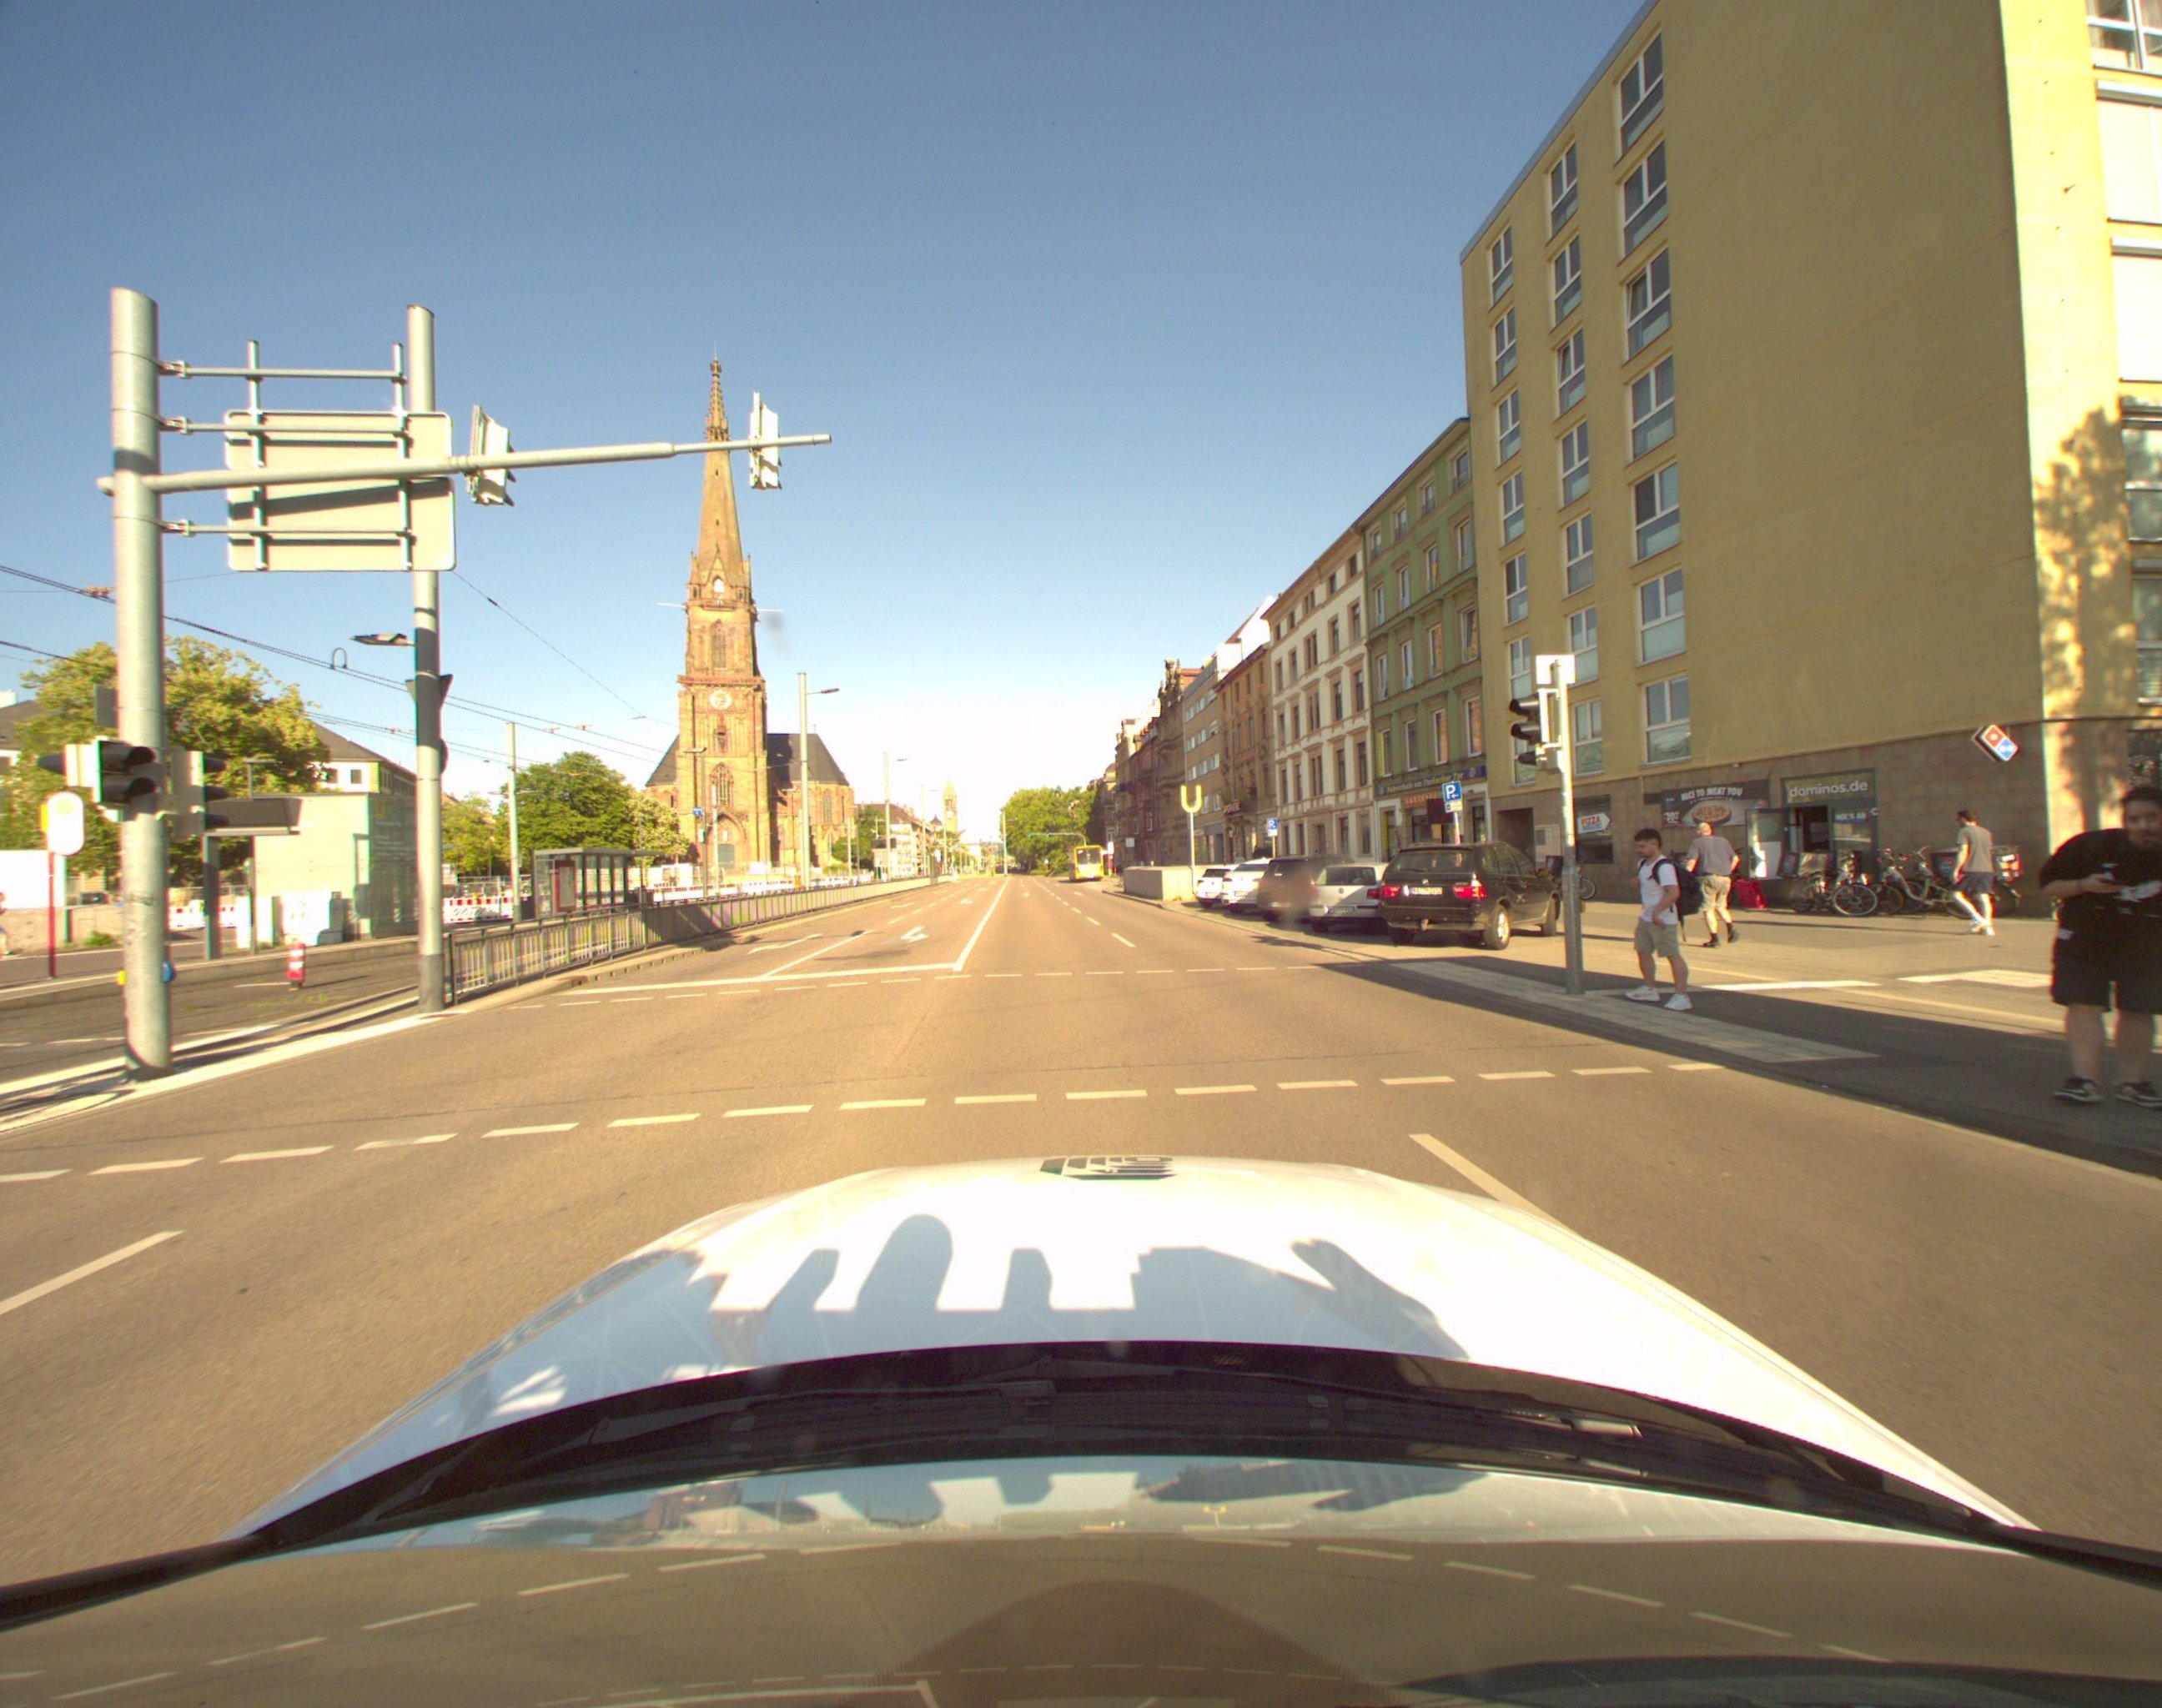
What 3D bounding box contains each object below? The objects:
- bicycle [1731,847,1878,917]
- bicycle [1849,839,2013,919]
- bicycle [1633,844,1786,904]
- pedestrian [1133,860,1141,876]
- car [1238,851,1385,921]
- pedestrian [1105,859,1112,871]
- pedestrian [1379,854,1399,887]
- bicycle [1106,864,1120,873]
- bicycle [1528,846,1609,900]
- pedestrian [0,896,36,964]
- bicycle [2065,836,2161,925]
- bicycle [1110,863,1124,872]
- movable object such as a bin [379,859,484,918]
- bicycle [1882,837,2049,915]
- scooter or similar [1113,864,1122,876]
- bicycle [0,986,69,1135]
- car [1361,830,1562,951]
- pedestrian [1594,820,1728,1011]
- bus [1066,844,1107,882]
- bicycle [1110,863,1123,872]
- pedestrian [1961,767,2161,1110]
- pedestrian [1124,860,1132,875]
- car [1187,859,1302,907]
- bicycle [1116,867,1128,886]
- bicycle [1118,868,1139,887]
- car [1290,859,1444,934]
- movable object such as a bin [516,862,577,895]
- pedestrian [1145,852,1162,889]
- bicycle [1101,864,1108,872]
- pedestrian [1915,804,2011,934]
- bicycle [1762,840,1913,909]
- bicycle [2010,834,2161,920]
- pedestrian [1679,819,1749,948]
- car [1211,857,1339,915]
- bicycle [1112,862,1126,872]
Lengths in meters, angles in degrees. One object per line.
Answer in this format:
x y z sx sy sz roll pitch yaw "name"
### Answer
14.375 0.543 16.294 0.657 1.248 2.293 -3 -1 -7 "bicycle"
14.708 0.425 14.176 0.657 1.248 1.895 -3 -1 -8 "bicycle"
14.663 0.457 19.186 0.983 1.264 3.055 -2 -1 -6 "bicycle"
6.962 1.704 101.298 0.821 1.930 1.135 -2 -1 -5 "pedestrian"
6.032 0.745 20.997 1.935 1.598 4.277 -2 -1 42 "car"
3.951 1.583 117.242 0.701 1.656 1.135 -2 -1 -5 "pedestrian"
12.561 0.654 33.218 0.515 1.319 0.589 -2 -1 -12 "pedestrian"
4.862 2.144 123.244 1.888 1.239 0.487 -3 -2 -18 "bicycle"
13.877 0.512 23.279 0.927 1.357 2.228 -3 2 -1 "bicycle"
-29.536 2.102 22.052 0.801 1.768 1.178 -3 2 -5 "pedestrian"
16.478 0.383 12.600 1.893 1.248 0.658 -3 -1 -9 "bicycle"
5.408 1.985 121.684 1.888 1.239 0.487 -3 -2 -18 "bicycle"
-32.586 1.623 41.091 2.638 2.525 5.131 -4 2 -23 "movable object such as a bin"
15.424 0.378 14.284 0.657 1.248 1.895 -3 -1 -8 "bicycle"
3.712 1.645 83.204 0.432 1.249 1.288 -3 -2 -14 "scooter or similar"
-8.239 1.479 5.352 1.889 0.942 0.813 -3 -1 -10 "bicycle"
6.882 0.560 14.489 1.936 1.814 4.276 -2 -1 44 "car"
5.629 0.565 7.928 0.698 1.728 0.748 -2 -1 -21 "pedestrian"
0.366 0.880 79.131 2.711 3.181 12.519 -3 -1 -5 "bus"
5.328 1.966 122.266 1.888 1.239 0.487 -3 -2 -18 "bicycle"
5.622 0.424 4.521 0.798 1.728 0.860 -2 -1 -36 "pedestrian"
5.908 1.713 102.446 0.821 1.930 1.135 -2 -1 -5 "pedestrian"
5.697 0.960 28.130 1.937 1.464 4.138 -3 -1 44 "car"
2.646 1.433 52.731 0.468 1.147 1.768 -1 0 -5 "bicycle"
2.911 1.424 50.043 0.471 1.147 1.755 -1 0 -28 "bicycle"
6.207 0.843 17.432 1.766 1.399 3.916 -2 -2 41 "car"
-30.853 1.375 47.092 1.171 1.586 3.858 -3 2 -5 "movable object such as a bin"
4.108 0.943 46.390 0.749 2.013 0.697 -3 2 -5 "pedestrian"
3.575 2.153 124.812 0.490 1.239 1.880 -3 -2 -14 "bicycle"
13.217 0.213 12.213 0.756 1.866 0.823 -2 -1 -35 "pedestrian"
15.176 0.407 16.440 0.657 1.248 2.293 -3 -1 -7 "bicycle"
16.376 0.363 13.271 1.893 1.248 0.658 -3 -1 -9 "bicycle"
9.576 0.432 12.319 0.689 1.866 0.758 -3 -1 43 "pedestrian"
5.912 0.899 24.478 1.935 1.570 4.277 -2 -1 41 "car"
5.597 1.912 120.545 1.888 1.239 0.487 -3 -2 -18 "bicycle"
